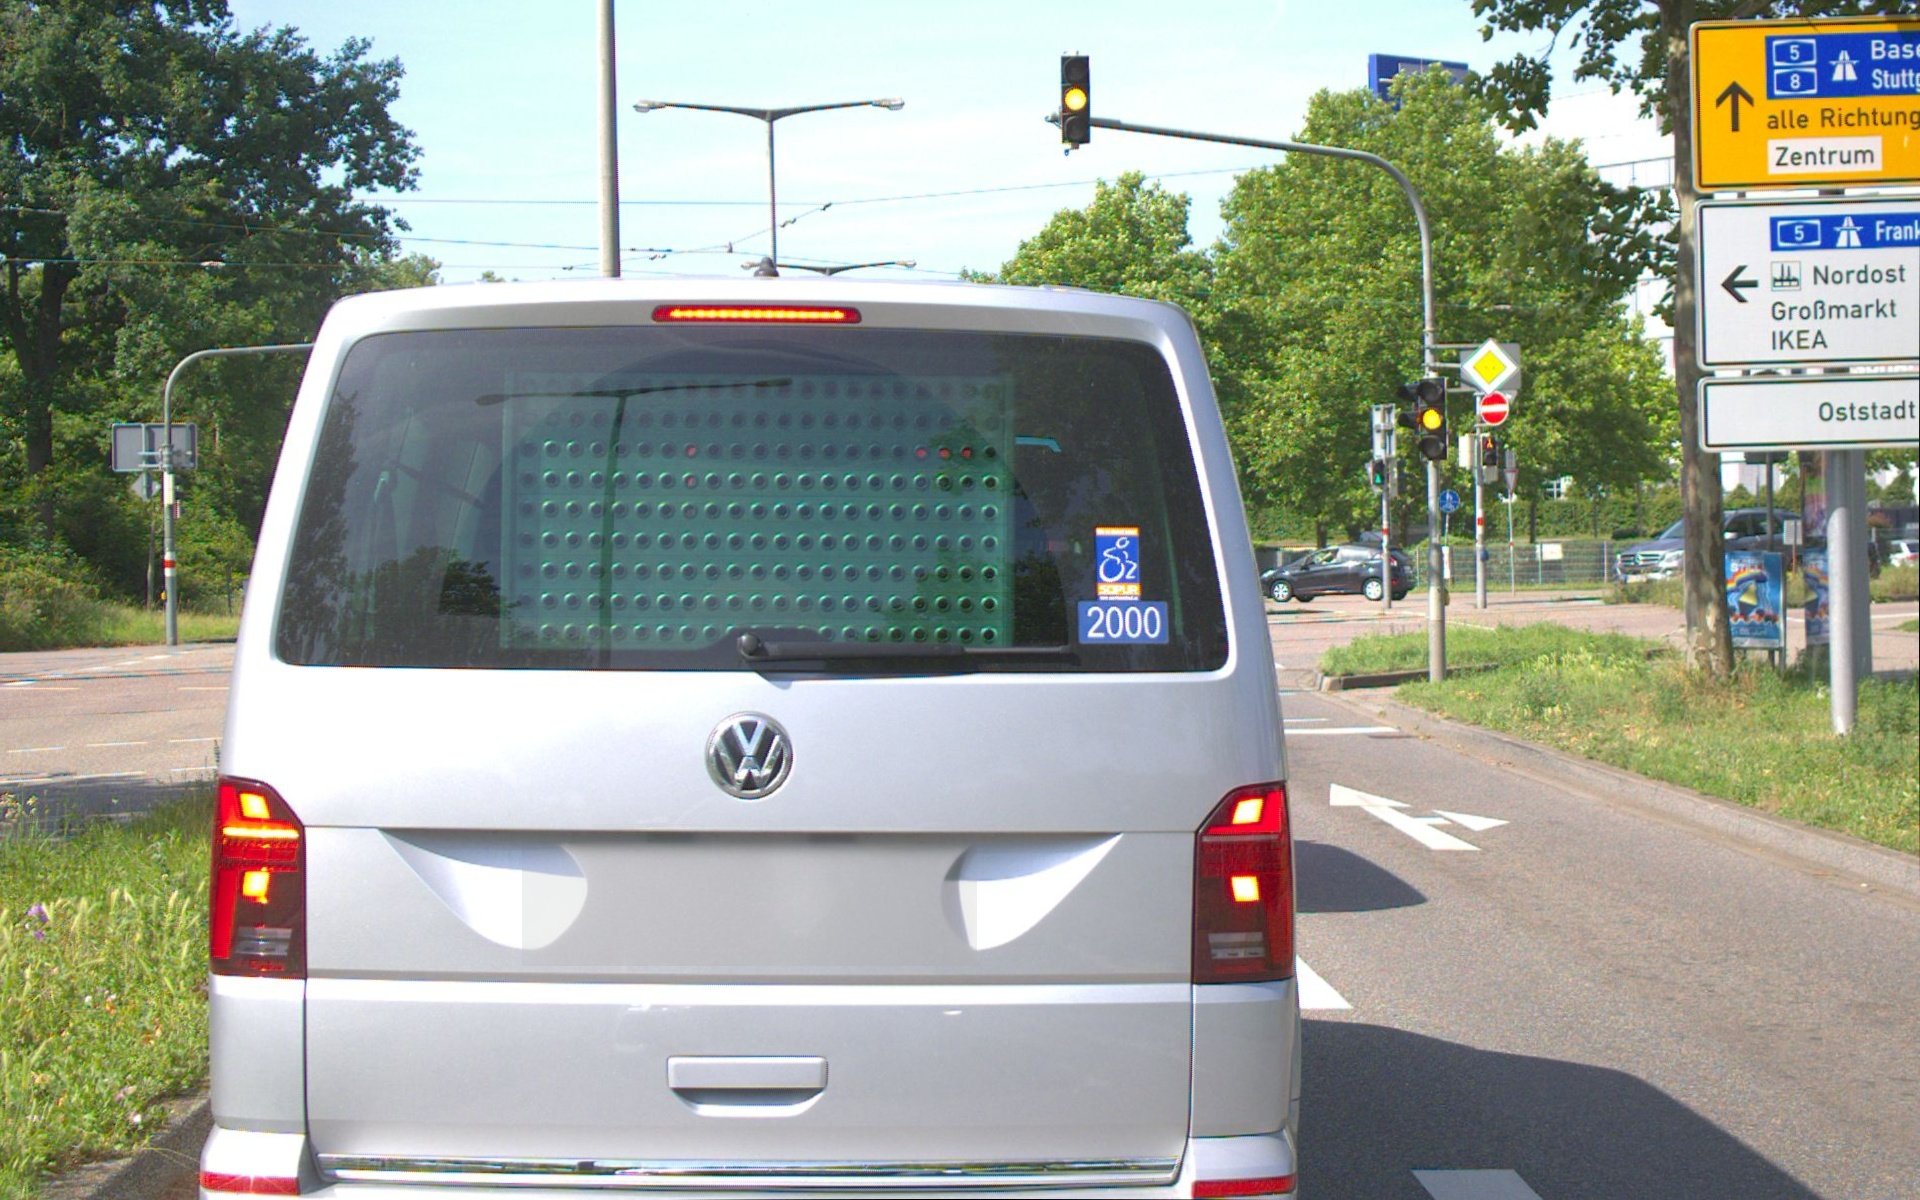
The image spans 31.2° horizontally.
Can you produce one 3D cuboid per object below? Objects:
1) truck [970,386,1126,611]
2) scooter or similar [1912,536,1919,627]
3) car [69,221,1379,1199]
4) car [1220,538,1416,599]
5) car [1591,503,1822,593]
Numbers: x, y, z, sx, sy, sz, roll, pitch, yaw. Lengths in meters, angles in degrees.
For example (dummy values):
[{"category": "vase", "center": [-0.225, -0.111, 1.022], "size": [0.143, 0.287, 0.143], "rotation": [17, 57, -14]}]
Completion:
[{"category": "truck", "center": [1.576, -1.881, 65.582], "size": [2.552, 3.943, 8.975], "rotation": [-1, 1, -1]}, {"category": "scooter or similar", "center": [12.130, -0.229, 42.402], "size": [0.424, 1.122, 1.124], "rotation": [-1, 1, -1]}, {"category": "car", "center": [-0.376, 0.386, 7.651], "size": [1.941, 1.965, 5.022], "rotation": [-1, 1, -1]}, {"category": "car", "center": [9.046, -0.787, 86.999], "size": [4.620, 1.439, 1.778], "rotation": [-1, 1, 33]}, {"category": "car", "center": [14.953, -1.055, 68.745], "size": [4.613, 1.683, 1.915], "rotation": [-2, 1, -37]}]
